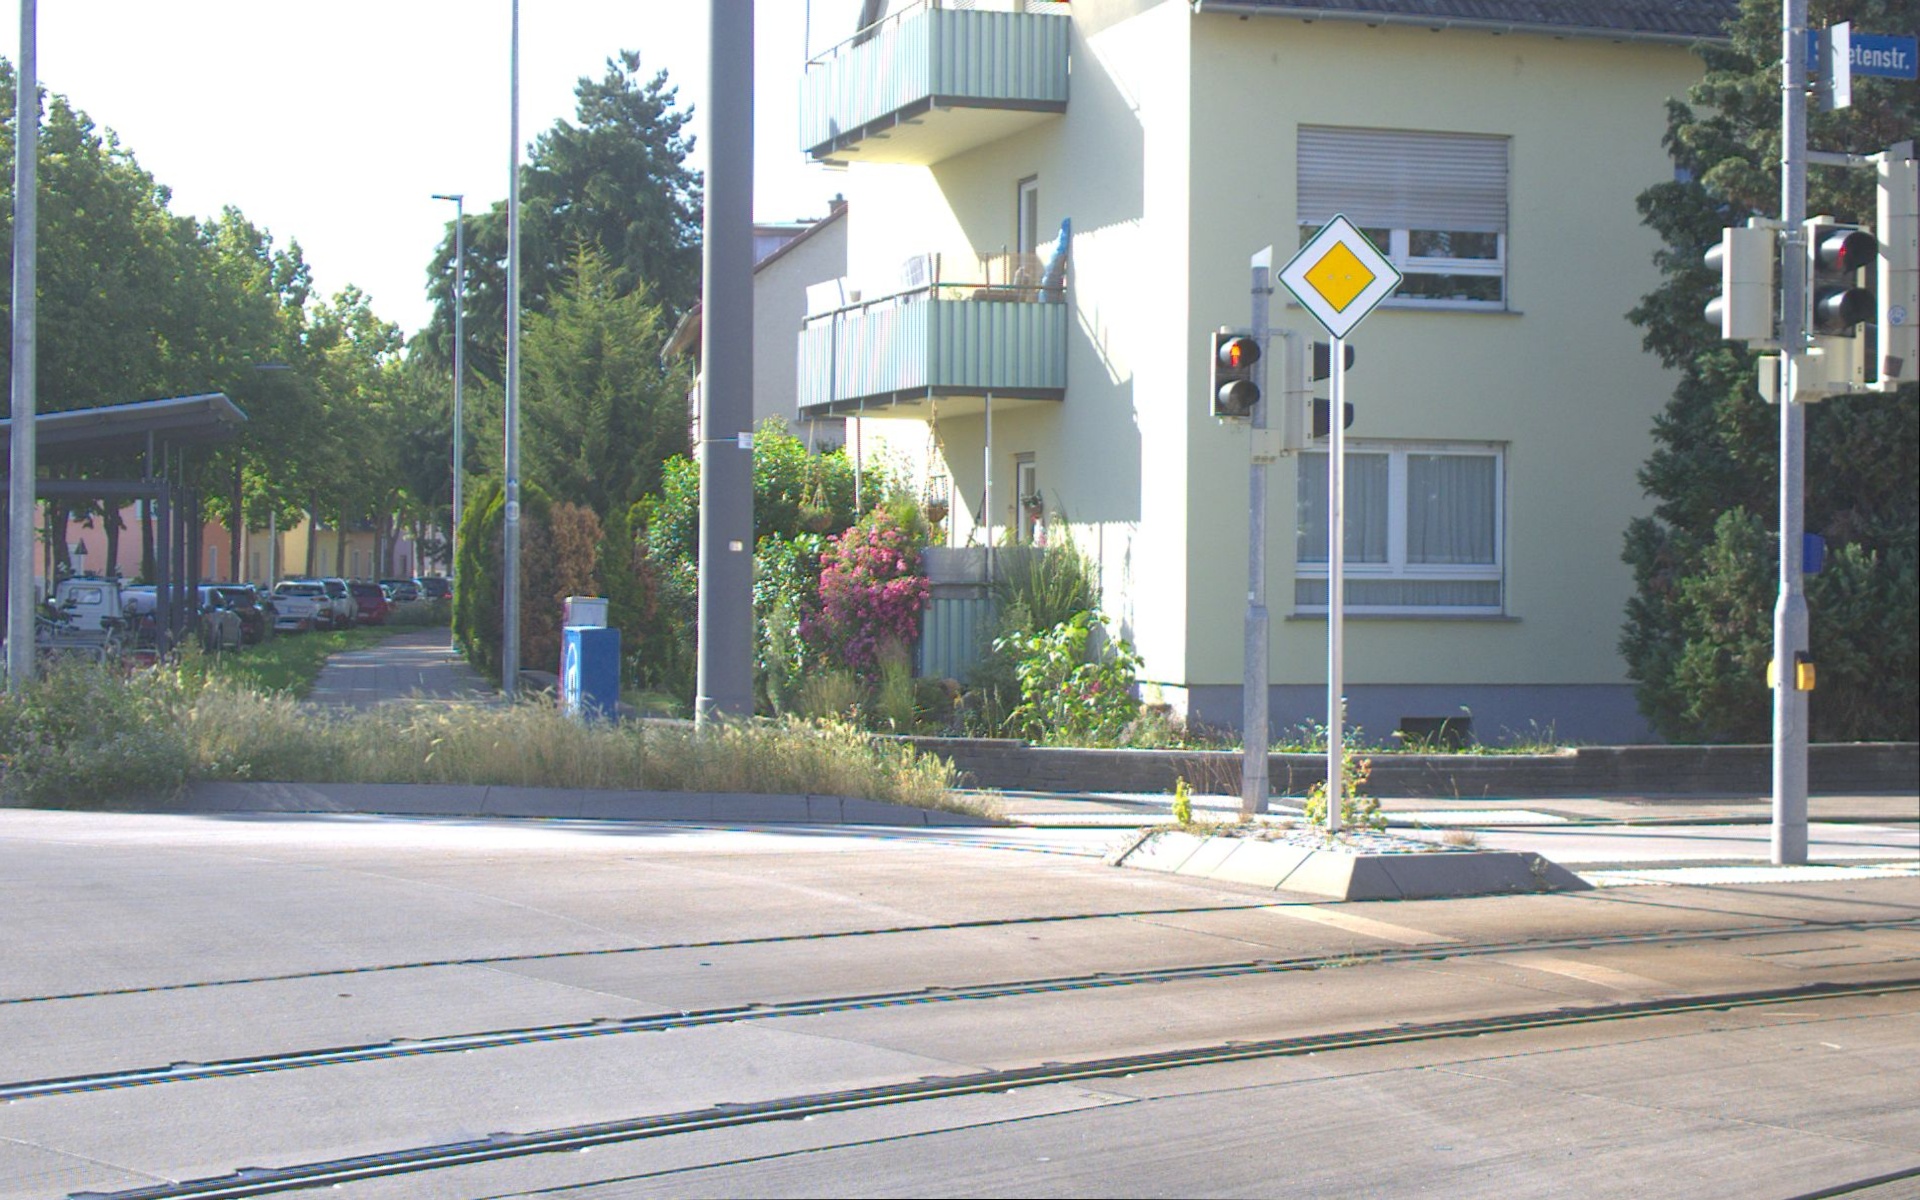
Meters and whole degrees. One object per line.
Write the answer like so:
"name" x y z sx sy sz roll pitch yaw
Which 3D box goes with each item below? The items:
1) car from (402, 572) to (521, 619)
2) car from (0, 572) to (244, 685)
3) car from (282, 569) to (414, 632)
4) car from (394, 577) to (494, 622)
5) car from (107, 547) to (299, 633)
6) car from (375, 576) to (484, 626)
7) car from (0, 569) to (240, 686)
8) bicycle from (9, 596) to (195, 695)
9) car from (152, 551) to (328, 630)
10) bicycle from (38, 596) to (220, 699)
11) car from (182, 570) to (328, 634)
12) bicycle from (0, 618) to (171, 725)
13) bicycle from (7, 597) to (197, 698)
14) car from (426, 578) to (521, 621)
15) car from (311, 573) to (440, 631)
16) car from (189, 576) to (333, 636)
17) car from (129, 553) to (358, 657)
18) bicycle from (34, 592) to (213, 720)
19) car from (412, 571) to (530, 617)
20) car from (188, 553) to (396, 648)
"car" -15.307 -0.132 105.534 3.515 1.291 1.578 2 0 -10
"car" -12.420 0.413 50.739 3.516 1.528 1.578 2 0 -9
"car" -16.217 0.017 91.182 3.358 1.528 1.523 2 0 -10
"car" -18.926 -0.020 126.027 3.515 1.528 1.578 2 0 -10
"car" -14.727 -0.187 67.001 3.516 1.528 1.455 2 0 -9
"car" -17.818 0.024 115.427 3.515 1.528 1.578 2 0 -10
"car" -12.129 0.381 49.015 3.516 1.528 1.578 2 0 -9
"bicycle" -9.624 0.510 38.600 1.972 1.024 0.689 2 0 -13
"car" -15.207 -0.198 72.724 3.516 1.528 1.578 2 0 -9
"bicycle" -8.898 0.509 36.859 1.840 1.024 0.689 2 0 -13
"car" -17.475 0.042 85.317 3.411 1.528 1.525 1 1 -6
"bicycle" -8.985 0.729 35.294 1.689 1.024 0.599 2 0 -13
"bicycle" -9.392 0.516 37.676 1.972 1.024 0.696 2 0 -13
"car" -18.738 -0.014 132.288 3.515 1.528 1.578 2 0 -10
"car" -16.315 0.057 96.007 3.478 1.488 1.552 2 0 -10
"car" -17.814 0.153 87.701 3.440 1.389 1.238 2 0 -6
"car" -11.590 0.074 55.783 3.516 1.528 1.578 2 0 -9
"bicycle" -8.294 0.555 34.127 1.665 1.203 0.689 2 0 -13
"car" -15.052 -0.199 105.803 3.515 1.275 1.578 2 0 -10
"car" -11.774 0.008 60.757 3.516 1.528 1.578 2 0 -9
